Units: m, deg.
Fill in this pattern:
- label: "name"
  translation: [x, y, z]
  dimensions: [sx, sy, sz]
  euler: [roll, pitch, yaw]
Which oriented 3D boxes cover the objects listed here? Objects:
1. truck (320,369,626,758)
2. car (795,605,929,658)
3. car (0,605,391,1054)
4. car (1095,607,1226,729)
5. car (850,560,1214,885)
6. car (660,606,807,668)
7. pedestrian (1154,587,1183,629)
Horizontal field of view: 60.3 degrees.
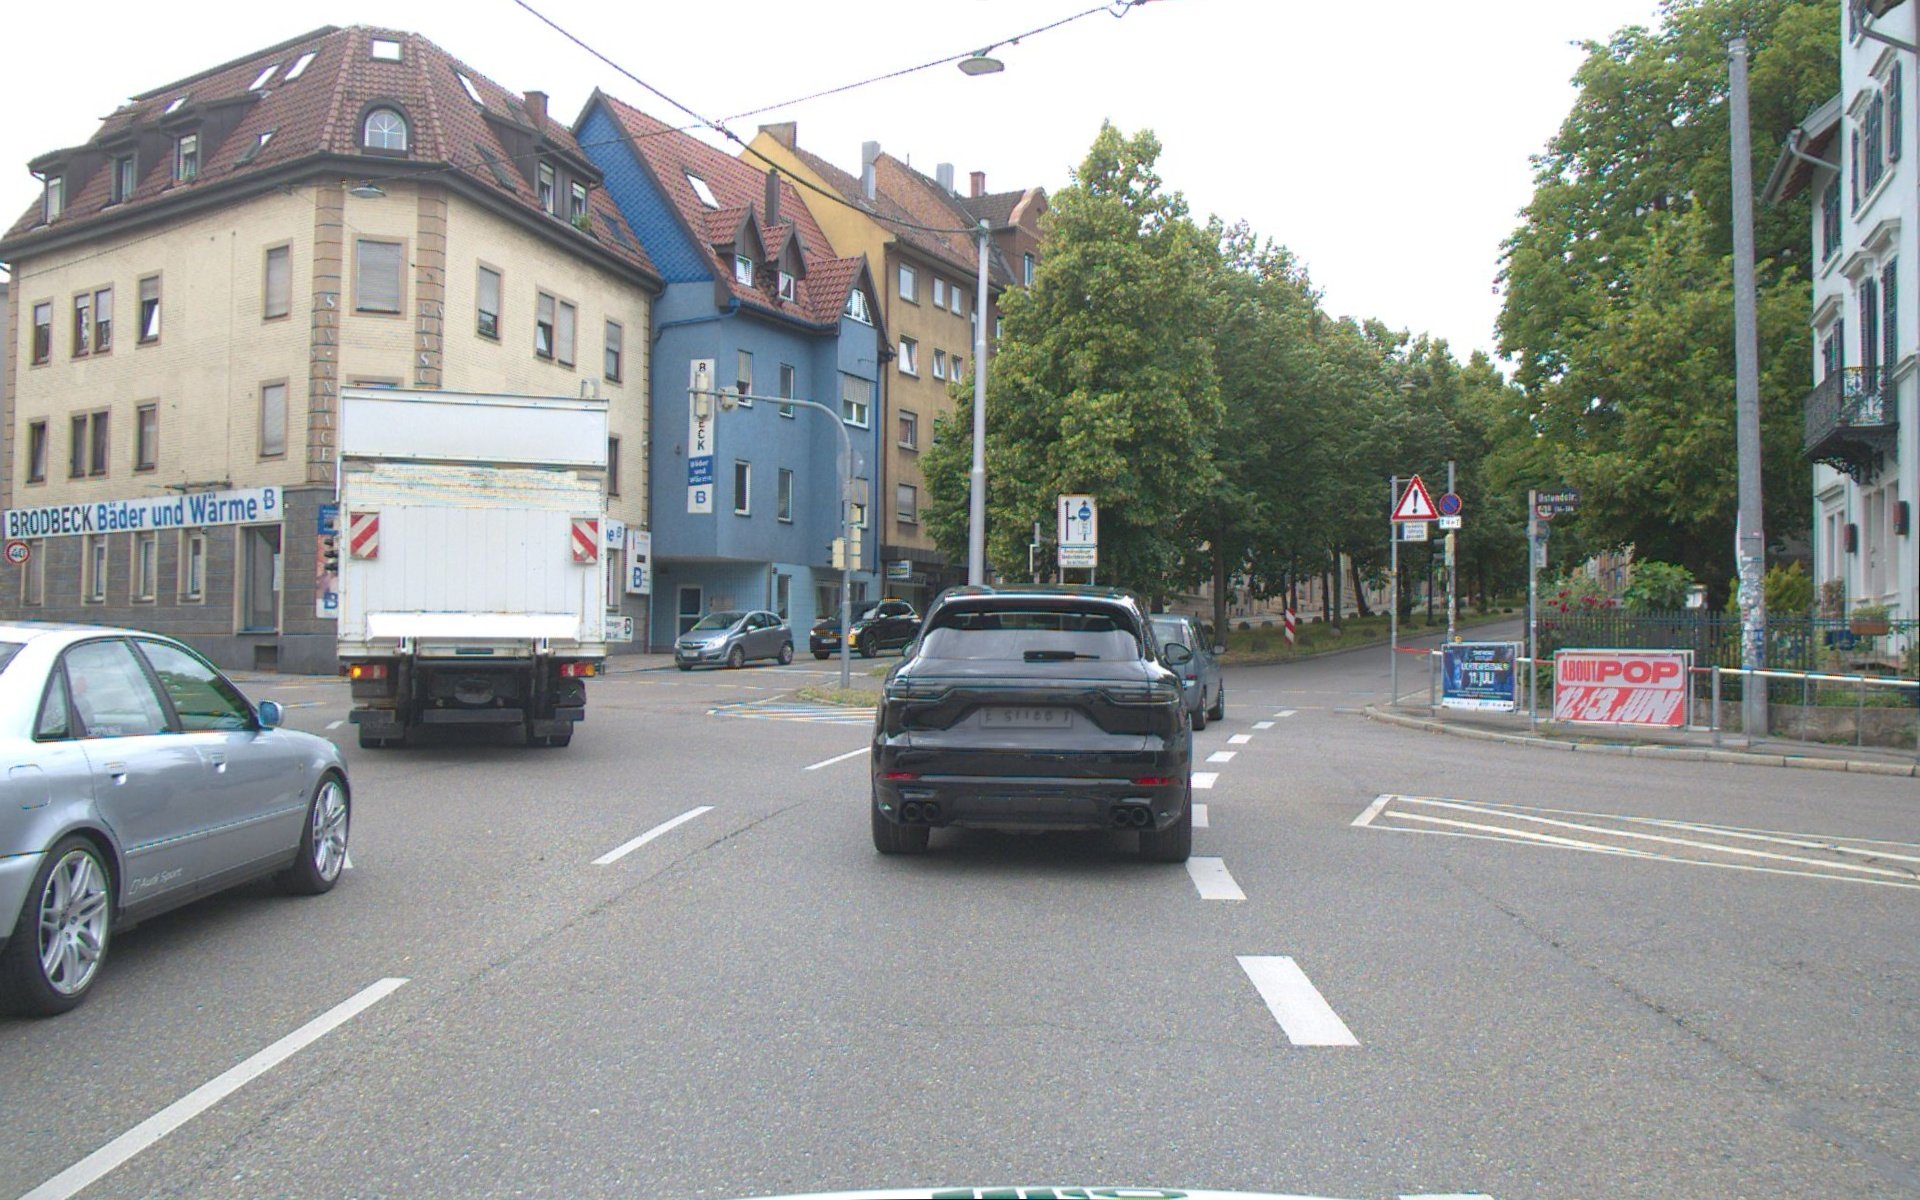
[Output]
- label: "truck"
  translation: [-5.822, -0.304, 19.781]
  dimensions: [2.682, 3.606, 8.381]
  euler: [2, -1, -17]
- label: "car"
  translation: [-2.833, 0.895, 48.942]
  dimensions: [1.834, 1.440, 4.693]
  euler: [0, 1, 27]
- label: "car"
  translation: [-3.918, 0.755, 6.965]
  dimensions: [1.595, 1.389, 4.128]
  euler: [2, 0, 0]
- label: "car"
  translation: [3.004, 0.955, 24.275]
  dimensions: [1.613, 1.583, 3.585]
  euler: [2, -1, 11]
- label: "car"
  translation: [0.600, 0.670, 11.427]
  dimensions: [1.989, 1.753, 4.503]
  euler: [1, 0, 5]
- label: "car"
  translation: [-5.737, 0.929, 42.380]
  dimensions: [1.683, 1.502, 4.214]
  euler: [-1, -1, 26]
- label: "pedestrian"
  translation: [10.445, 0.394, 82.926]
  dimensions: [1.168, 2.049, 0.988]
  euler: [1, -1, 24]
